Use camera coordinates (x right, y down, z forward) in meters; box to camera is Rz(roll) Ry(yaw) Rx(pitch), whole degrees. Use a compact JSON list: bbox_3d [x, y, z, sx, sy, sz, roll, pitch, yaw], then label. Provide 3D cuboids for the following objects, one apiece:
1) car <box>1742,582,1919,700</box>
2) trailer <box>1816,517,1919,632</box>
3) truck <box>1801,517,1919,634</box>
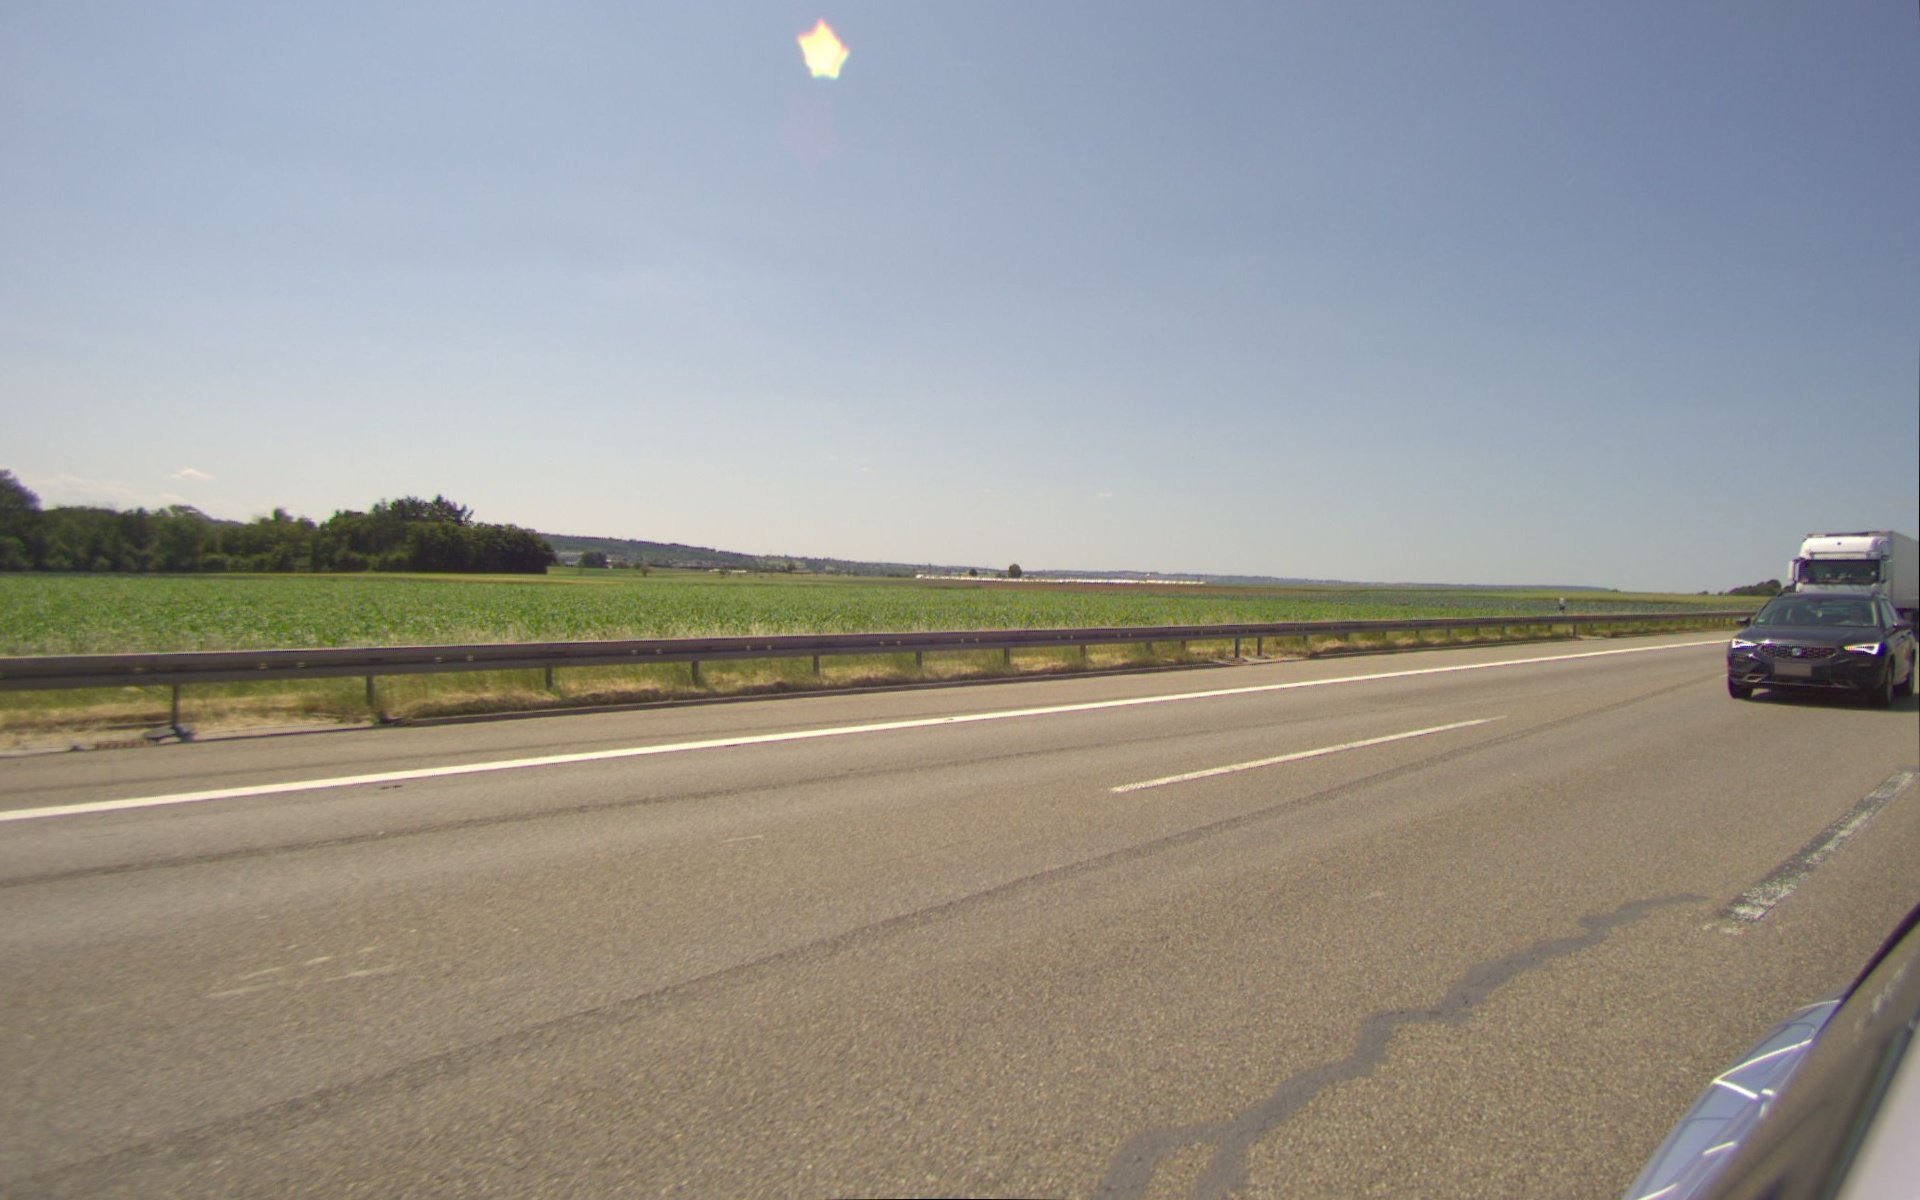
[{"bbox_3d":[13.457,0.537,15.463,3.759,1.582,1.799,0,0,-43],"label":"car"},{"bbox_3d":[39.582,-0.977,43.138,13.063,4.273,2.872,0,0,-41],"label":"trailer"},{"bbox_3d":[34.865,-0.888,38.971,6.761,4.143,2.867,0,0,-42],"label":"truck"}]
